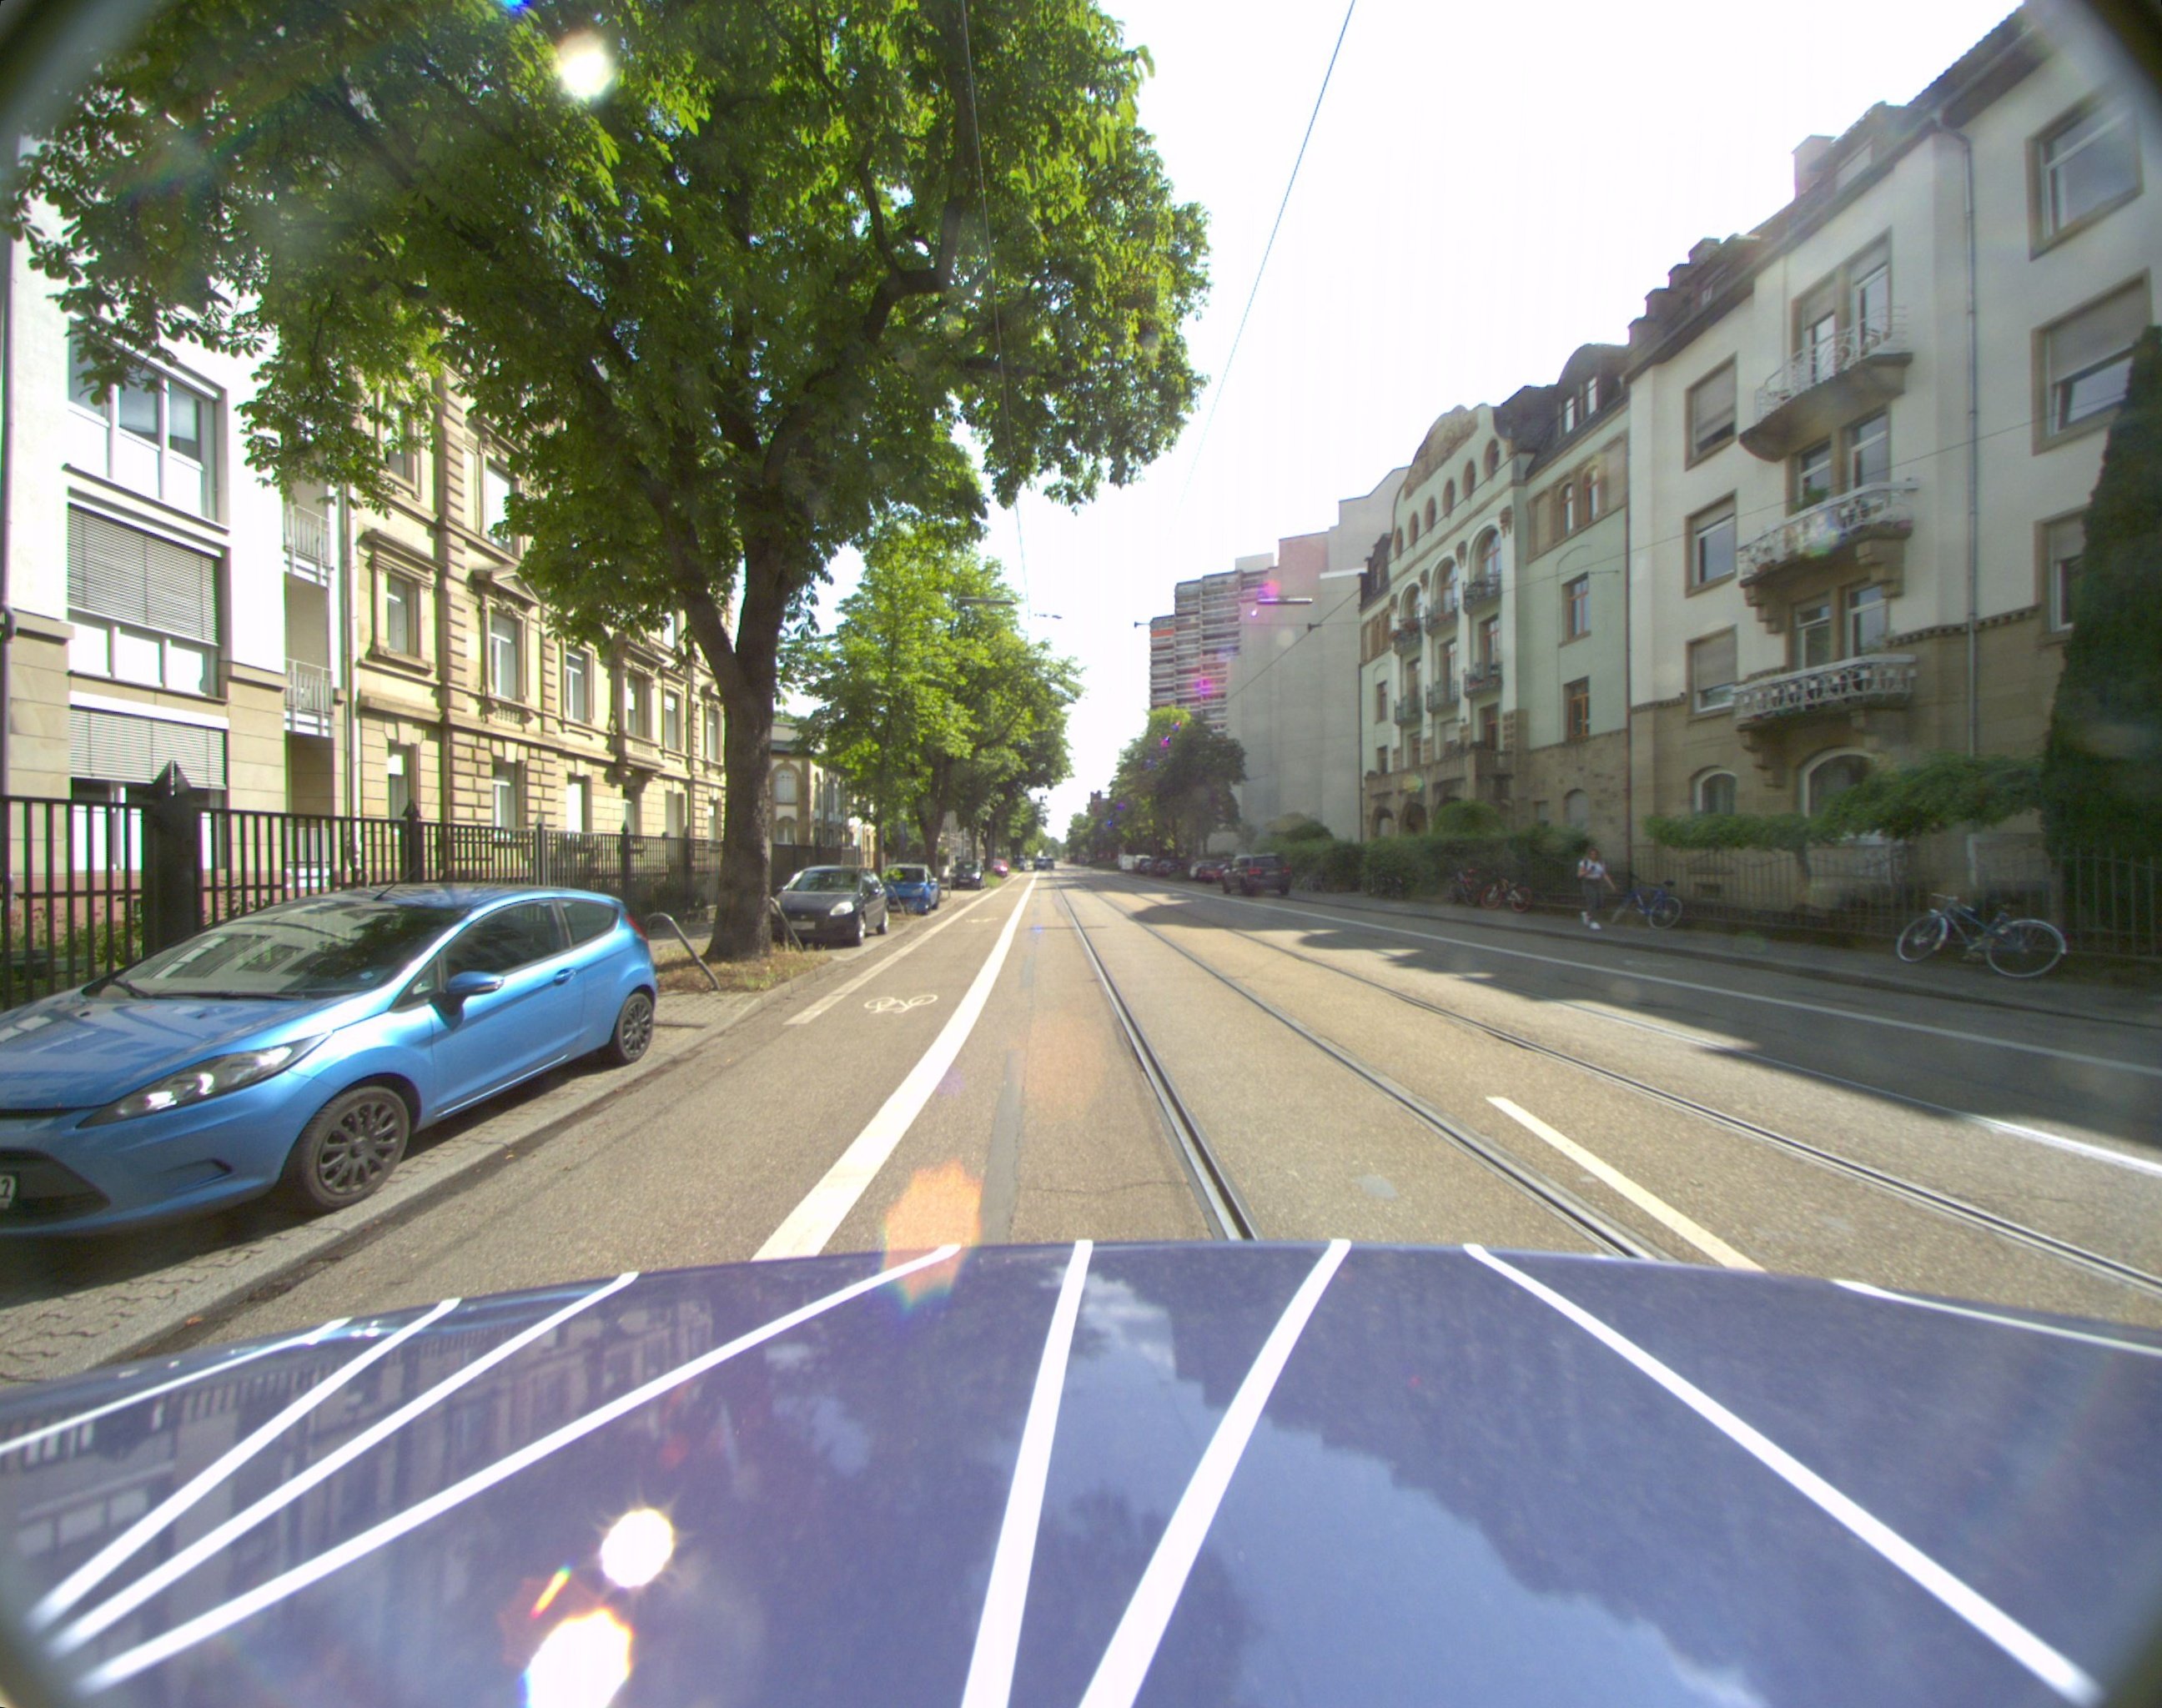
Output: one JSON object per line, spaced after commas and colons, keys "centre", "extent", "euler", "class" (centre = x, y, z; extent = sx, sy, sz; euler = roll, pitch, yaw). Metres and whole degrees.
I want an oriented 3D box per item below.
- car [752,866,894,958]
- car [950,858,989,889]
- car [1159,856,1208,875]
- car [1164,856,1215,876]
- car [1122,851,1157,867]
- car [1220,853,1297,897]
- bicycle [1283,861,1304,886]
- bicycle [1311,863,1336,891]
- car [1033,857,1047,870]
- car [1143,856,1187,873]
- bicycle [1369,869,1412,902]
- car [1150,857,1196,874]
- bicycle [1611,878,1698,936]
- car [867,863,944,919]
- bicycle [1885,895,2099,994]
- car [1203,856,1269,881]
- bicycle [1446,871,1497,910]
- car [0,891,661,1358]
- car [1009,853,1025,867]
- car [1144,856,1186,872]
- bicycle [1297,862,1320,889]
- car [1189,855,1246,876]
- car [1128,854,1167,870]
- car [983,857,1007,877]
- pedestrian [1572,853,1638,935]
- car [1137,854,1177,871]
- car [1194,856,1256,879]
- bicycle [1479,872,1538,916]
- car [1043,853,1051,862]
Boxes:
{"centre": [-4.864, 1.026, 14.848], "extent": [1.679, 1.467, 3.659], "euler": [2, 0, -4], "class": "car"}
{"centre": [-6.059, 1.039, 41.645], "extent": [1.744, 1.564, 3.659], "euler": [2, 0, -4], "class": "car"}
{"centre": [8.672, 0.960, 64.320], "extent": [3.994, 1.499, 2.001], "euler": [-1, 0, 8], "class": "car"}
{"centre": [8.756, 0.945, 61.163], "extent": [3.994, 1.499, 2.001], "euler": [-1, 0, 8], "class": "car"}
{"centre": [6.776, 0.555, 87.552], "extent": [1.994, 1.740, 4.008], "euler": [-1, 1, 41], "class": "car"}
{"centre": [7.380, 0.825, 32.099], "extent": [1.922, 1.685, 4.400], "euler": [-1, 0, -4], "class": "car"}
{"centre": [10.119, 0.909, 36.266], "extent": [0.468, 1.128, 1.787], "euler": [-1, 0, -1], "class": "bicycle"}
{"centre": [10.285, 0.971, 32.226], "extent": [0.468, 1.128, 1.787], "euler": [-1, 0, -1], "class": "bicycle"}
{"centre": [-6.389, 1.450, 119.362], "extent": [1.974, 1.901, 4.817], "euler": [-1, 0, -2], "class": "car"}
{"centre": [7.796, 0.981, 70.652], "extent": [3.994, 1.499, 2.001], "euler": [-1, 0, 8], "class": "car"}
{"centre": [10.207, 1.015, 25.115], "extent": [0.605, 0.990, 1.981], "euler": [-1, 0, -1], "class": "bicycle"}
{"centre": [8.188, 1.003, 67.441], "extent": [3.994, 1.499, 2.001], "euler": [-1, 0, 8], "class": "car"}
{"centre": [11.002, 0.989, 14.641], "extent": [0.467, 0.990, 1.787], "euler": [-1, 0, 5], "class": "bicycle"}
{"centre": [-5.237, 1.051, 23.064], "extent": [1.679, 1.467, 3.659], "euler": [2, 0, -4], "class": "car"}
{"centre": [11.127, 1.059, 9.396], "extent": [0.467, 0.990, 1.979], "euler": [-1, 0, 7], "class": "bicycle"}
{"centre": [9.740, 0.904, 48.054], "extent": [3.994, 1.499, 2.001], "euler": [-1, 0, 8], "class": "car"}
{"centre": [10.777, 0.976, 21.026], "extent": [0.468, 0.990, 1.787], "euler": [-1, 0, -1], "class": "bicycle"}
{"centre": [-4.312, 1.071, 4.546], "extent": [1.647, 1.467, 3.660], "euler": [2, 0, -3], "class": "car"}
{"centre": [-7.463, 0.657, 89.284], "extent": [1.744, 1.564, 3.929], "euler": [2, 0, -4], "class": "car"}
{"centre": [8.138, 0.978, 73.811], "extent": [3.994, 1.499, 2.001], "euler": [-1, 0, 8], "class": "car"}
{"centre": [10.211, 0.952, 34.168], "extent": [0.468, 1.128, 1.787], "euler": [-1, 0, -1], "class": "bicycle"}
{"centre": [9.871, 0.833, 55.110], "extent": [3.994, 1.499, 2.001], "euler": [-1, 0, 8], "class": "car"}
{"centre": [7.173, 0.889, 81.715], "extent": [3.994, 1.672, 2.001], "euler": [-1, 0, 8], "class": "car"}
{"centre": [-7.277, 1.099, 64.610], "extent": [1.744, 1.564, 3.929], "euler": [2, 0, -4], "class": "car"}
{"centre": [10.135, 0.757, 14.720], "extent": [0.758, 1.532, 0.765], "euler": [-1, 0, -1], "class": "pedestrian"}
{"centre": [7.735, 0.901, 77.287], "extent": [3.994, 1.672, 2.001], "euler": [-1, 0, 8], "class": "car"}
{"centre": [9.721, 0.915, 51.562], "extent": [3.994, 1.499, 2.001], "euler": [-1, 0, 8], "class": "car"}
{"centre": [10.730, 0.981, 19.127], "extent": [0.468, 0.990, 1.787], "euler": [-1, 0, -1], "class": "bicycle"}
{"centre": [-9.556, 1.005, 213.977], "extent": [2.146, 2.568, 4.817], "euler": [-1, 0, -2], "class": "car"}
